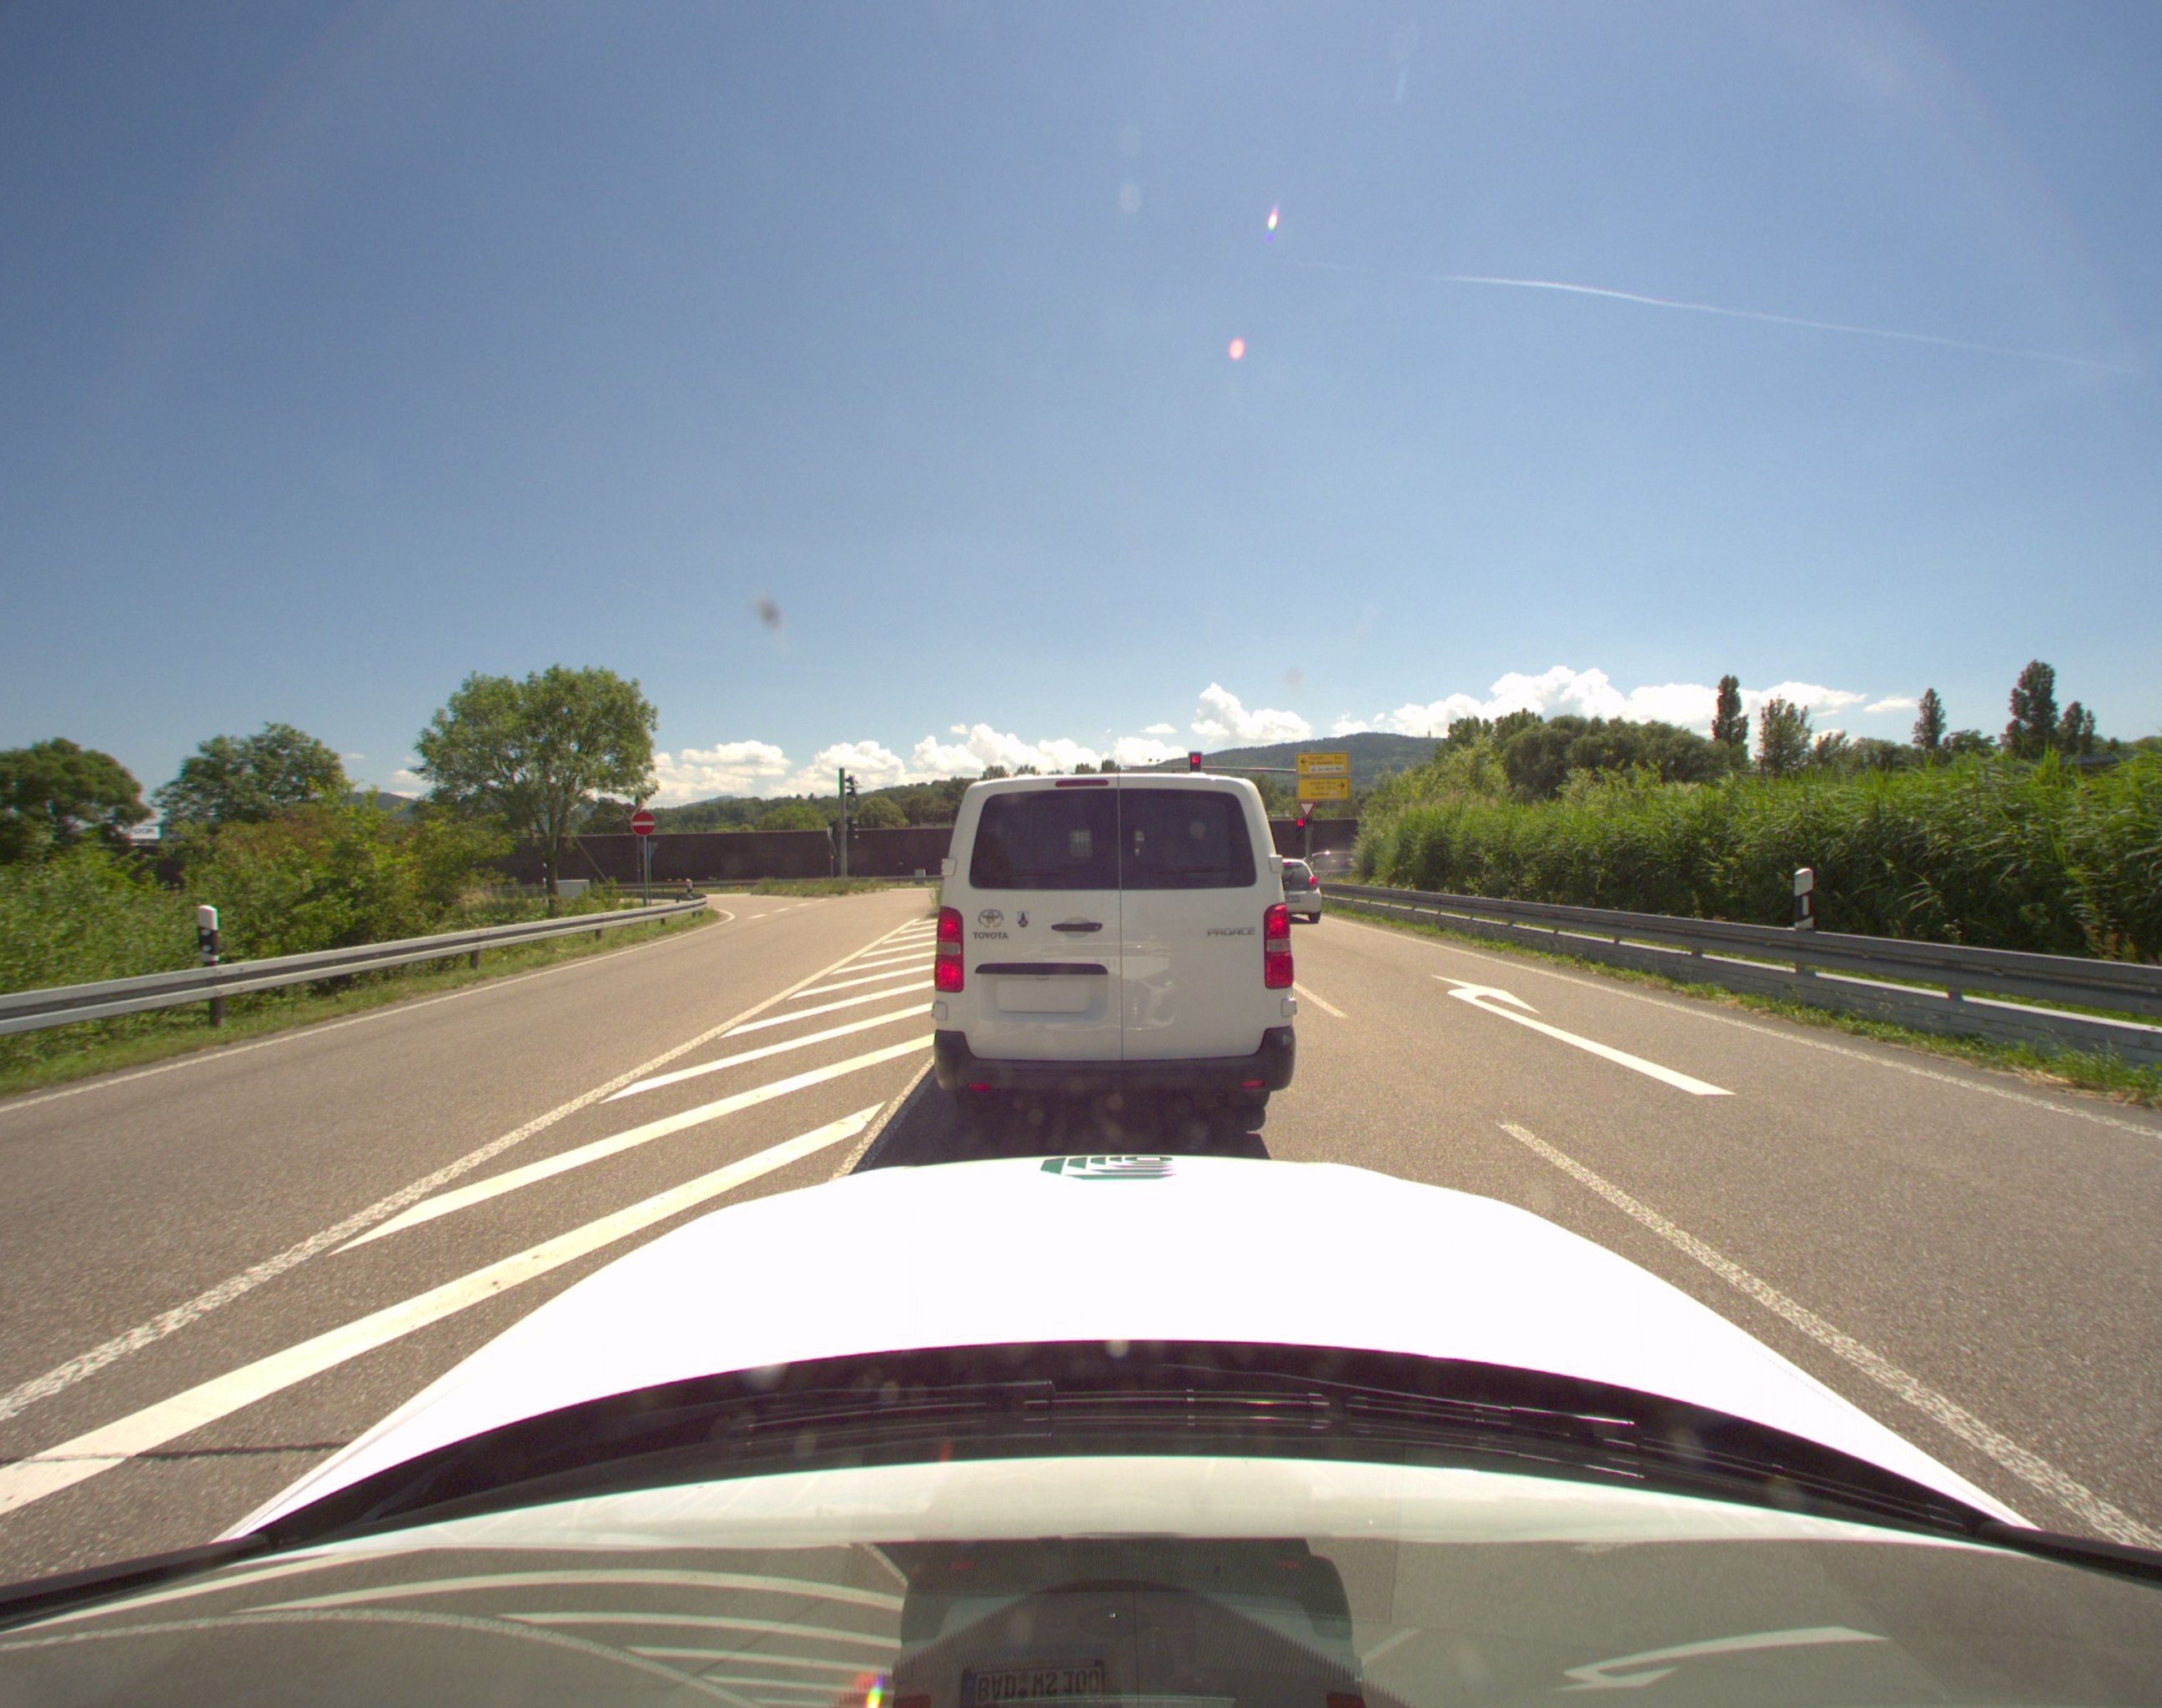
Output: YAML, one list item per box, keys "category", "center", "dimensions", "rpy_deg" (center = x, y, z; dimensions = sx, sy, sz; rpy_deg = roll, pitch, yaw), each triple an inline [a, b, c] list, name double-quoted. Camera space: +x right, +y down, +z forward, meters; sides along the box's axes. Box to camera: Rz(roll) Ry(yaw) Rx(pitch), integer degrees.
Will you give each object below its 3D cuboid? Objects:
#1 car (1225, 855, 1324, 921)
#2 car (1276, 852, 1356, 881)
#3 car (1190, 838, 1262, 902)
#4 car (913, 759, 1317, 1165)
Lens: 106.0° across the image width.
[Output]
- category: "car"
  center: [4.572, 0.759, 19.671]
  dimensions: [1.650, 1.431, 3.366]
  rpy_deg: [-1, 0, 1]
- category: "car"
  center: [14.264, 0.734, 49.639]
  dimensions: [4.298, 1.656, 1.999]
  rpy_deg: [-1, -1, -2]
- category: "car"
  center: [4.923, 0.526, 28.229]
  dimensions: [1.920, 2.000, 4.842]
  rpy_deg: [-1, 0, 3]
- category: "car"
  center: [0.202, 0.519, 5.819]
  dimensions: [1.880, 1.886, 4.001]
  rpy_deg: [-1, 0, 1]
